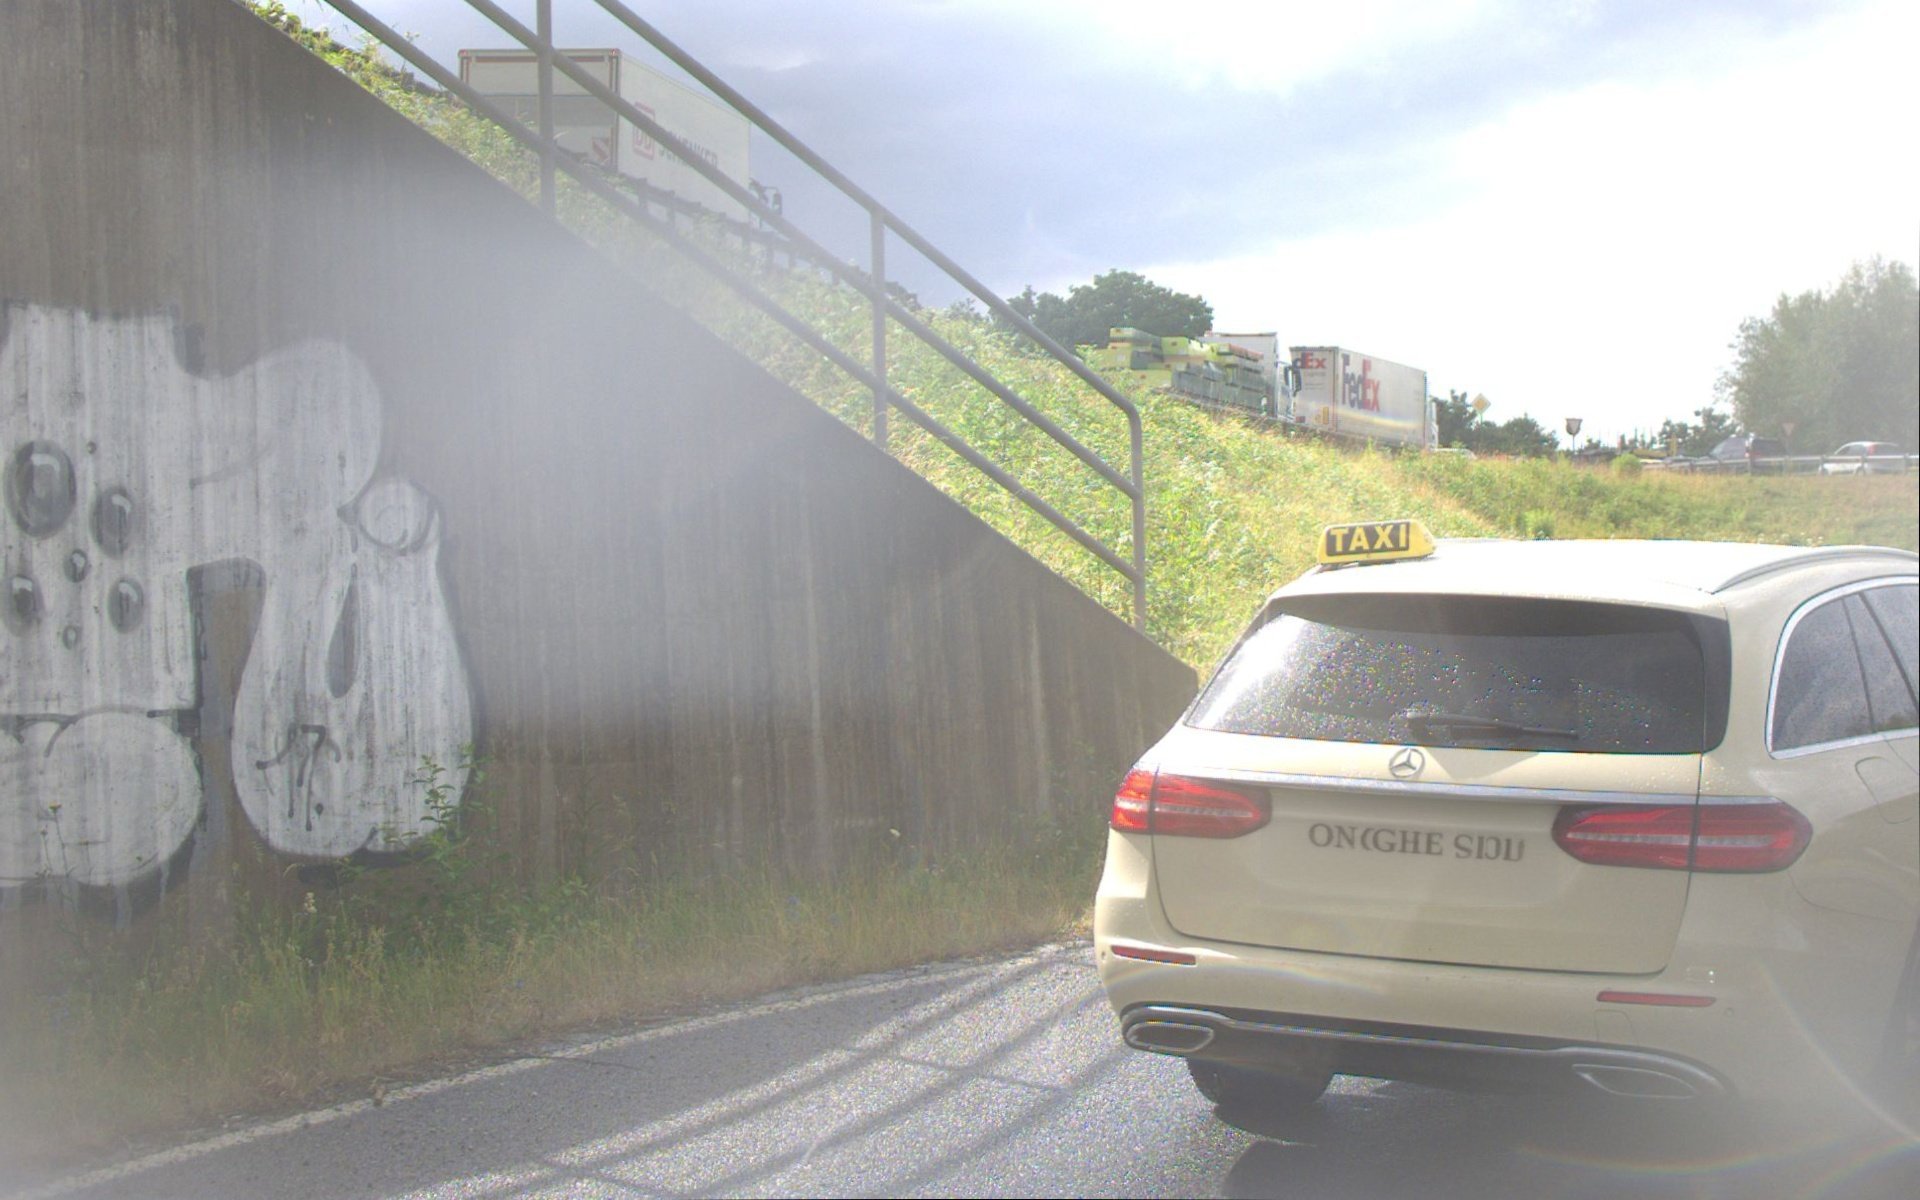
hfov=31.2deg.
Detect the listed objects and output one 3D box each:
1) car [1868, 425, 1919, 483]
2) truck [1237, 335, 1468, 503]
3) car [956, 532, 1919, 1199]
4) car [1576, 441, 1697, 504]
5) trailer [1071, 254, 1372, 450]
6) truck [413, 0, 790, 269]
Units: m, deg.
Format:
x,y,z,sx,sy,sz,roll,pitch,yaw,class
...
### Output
x,y,z,sx,sy,sz,roll,pitch,yaw,class
33.354,-4.982,116.385,1.993,1.855,5.057,-1,0,-31,car
14.078,-6.112,120.790,4.464,4.488,19.358,0,-1,17,truck
1.993,0.575,9.327,1.919,1.502,4.588,0,1,31,car
22.875,-4.306,116.223,3.989,2.007,1.826,0,-1,12,car
8.166,-7.071,102.169,4.417,3.942,20.199,0,-1,18,trailer
-5.503,-7.816,54.911,3.182,3.953,9.231,0,-1,13,truck
